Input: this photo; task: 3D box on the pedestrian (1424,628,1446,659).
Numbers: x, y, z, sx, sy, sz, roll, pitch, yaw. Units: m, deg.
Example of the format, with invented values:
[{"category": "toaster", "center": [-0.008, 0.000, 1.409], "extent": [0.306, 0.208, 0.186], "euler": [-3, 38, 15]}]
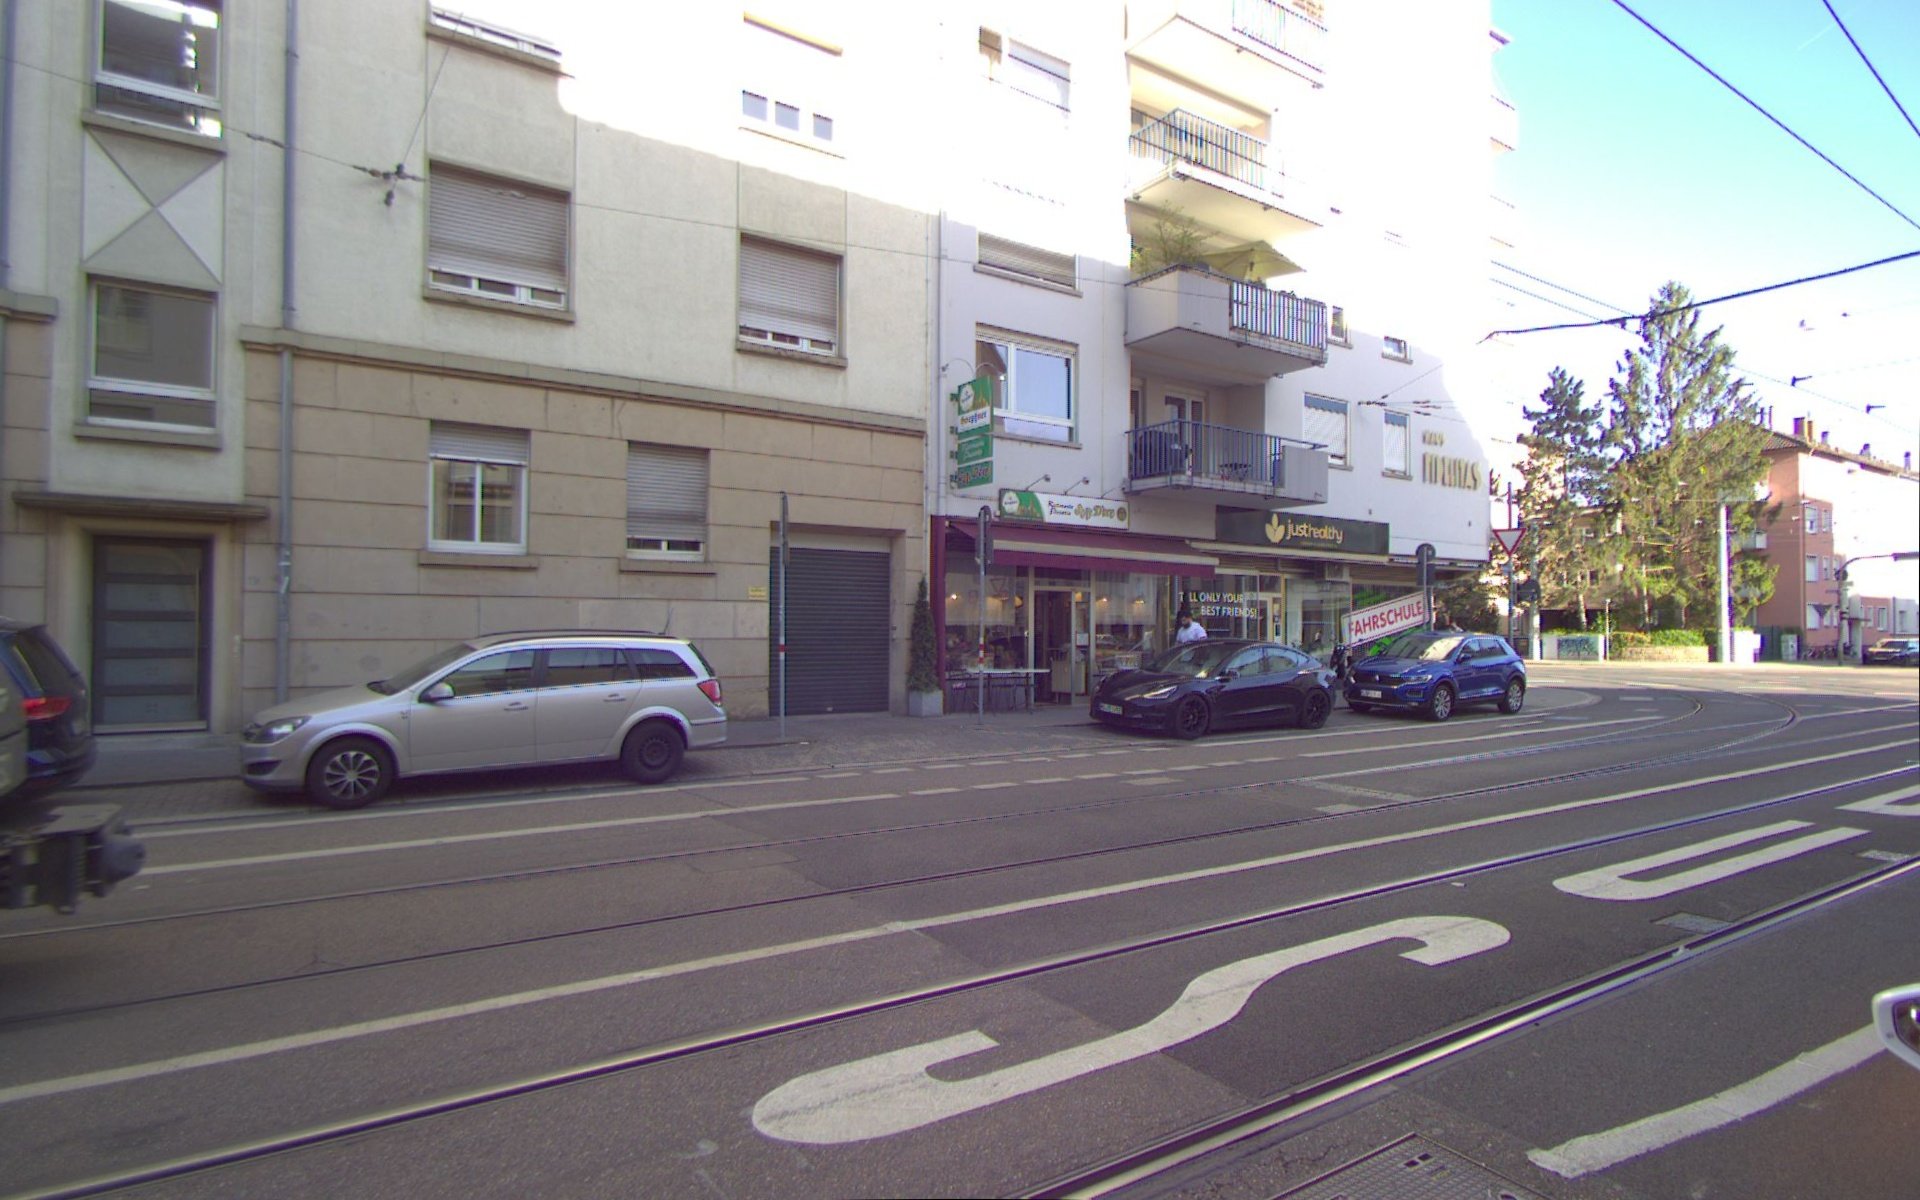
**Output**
[{"category": "pedestrian", "center": [28.656, 2.602, 60.592], "extent": [0.796, 1.815, 0.897], "euler": [2, 0, -26]}]

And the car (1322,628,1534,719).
[{"category": "car", "center": [8.923, 1.311, 19.071], "extent": [4.030, 1.552, 1.858], "euler": [1, -2, -34]}]

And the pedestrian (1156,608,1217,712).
[{"category": "pedestrian", "center": [4.137, 1.079, 18.344], "extent": [0.802, 1.827, 0.689], "euler": [2, 0, -30]}]

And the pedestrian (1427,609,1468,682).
[{"category": "pedestrian", "center": [13.876, 1.283, 28.596], "extent": [0.688, 2.040, 0.764], "euler": [2, 0, -35]}]

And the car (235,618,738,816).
[{"category": "car", "center": [-4.709, 1.040, 10.322], "extent": [4.319, 1.580, 1.981], "euler": [2, 0, -34]}]

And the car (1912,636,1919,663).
[{"category": "car", "center": [58.109, 2.960, 59.305], "extent": [4.103, 1.531, 1.778], "euler": [2, 0, -31]}]

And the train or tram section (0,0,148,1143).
[{"category": "train or tram section", "center": [-9.620, -0.292, 0.422], "extent": [14.115, 3.680, 2.728], "euler": [2, 0, -34]}]

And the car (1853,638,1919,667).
[{"category": "car", "center": [49.600, 2.801, 53.609], "extent": [3.949, 1.440, 1.784], "euler": [2, 0, -31]}]

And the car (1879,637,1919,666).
[{"category": "car", "center": [53.588, 2.898, 56.363], "extent": [4.250, 1.518, 1.806], "euler": [2, 0, -30]}]

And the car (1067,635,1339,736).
[{"category": "car", "center": [3.967, 1.279, 16.145], "extent": [4.382, 1.405, 1.810], "euler": [1, -2, -34]}]

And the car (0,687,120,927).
[{"category": "car", "center": [-8.981, 1.559, 7.260], "extent": [4.249, 1.606, 1.893], "euler": [2, 0, -35]}]
